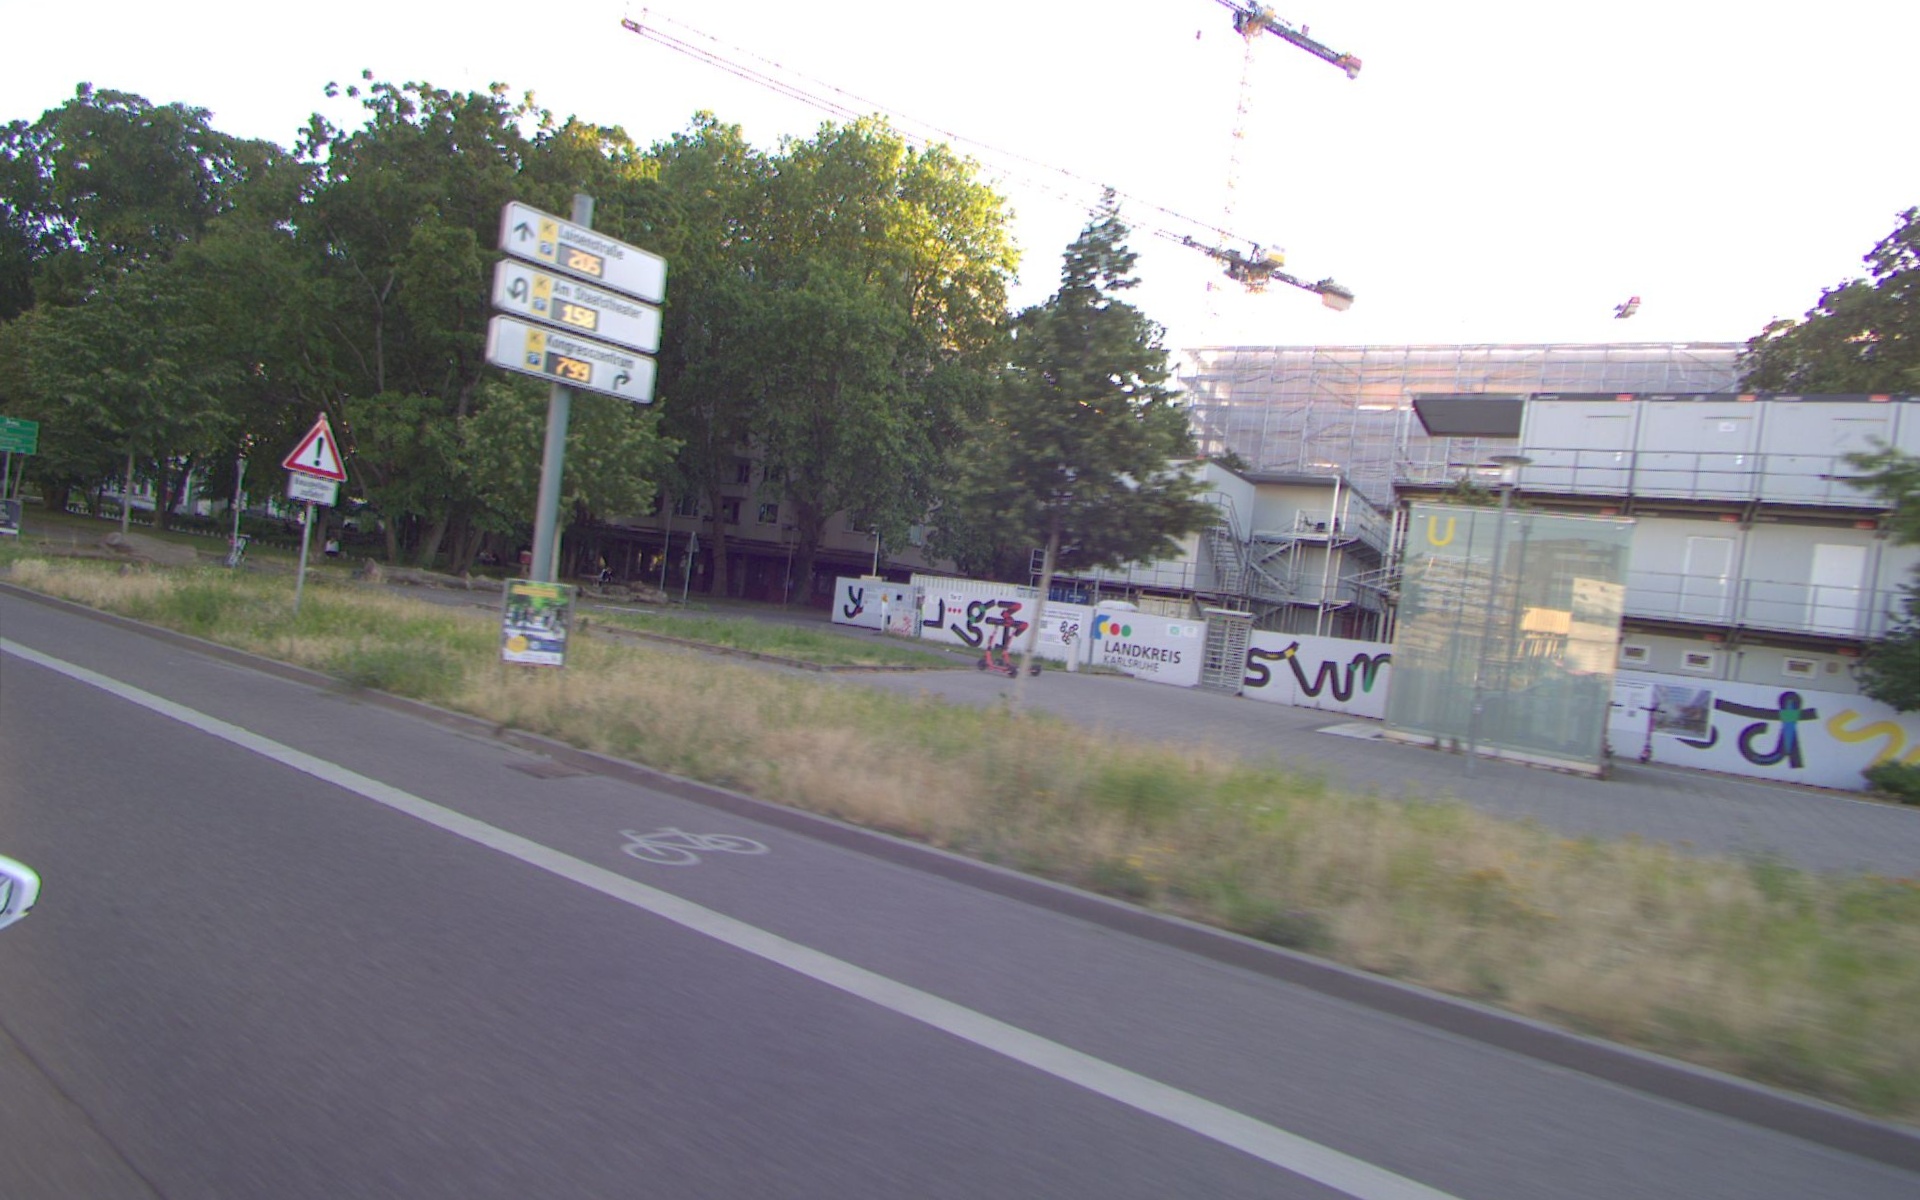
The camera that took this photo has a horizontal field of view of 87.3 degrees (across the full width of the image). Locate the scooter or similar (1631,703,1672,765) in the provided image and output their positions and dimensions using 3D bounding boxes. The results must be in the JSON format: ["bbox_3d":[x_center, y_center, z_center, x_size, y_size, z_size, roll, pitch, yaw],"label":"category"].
[{"bbox_3d":[14.995,2.890,21.827,0.466,1.235,1.573,7,-1,30],"label":"scooter or similar"}]

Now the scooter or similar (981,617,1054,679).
[{"bbox_3d":[1.343,1.114,23.676,1.546,1.237,0.473,7,4,26],"label":"scooter or similar"}]

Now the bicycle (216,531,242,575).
[{"bbox_3d":[-19.318,-1.255,26.580,0.491,1.019,1.878,3,3,-37],"label":"bicycle"}]

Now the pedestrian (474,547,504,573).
[{"bbox_3d":[-26.851,-2.289,57.355,0.891,1.276,1.132,7,1,35],"label":"pedestrian"}]

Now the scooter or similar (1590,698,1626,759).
[{"bbox_3d":[14.285,2.815,22.200,0.466,1.235,1.573,7,-1,30],"label":"scooter or similar"}]

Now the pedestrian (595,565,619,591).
[{"bbox_3d":[-18.272,-1.140,52.103,0.753,1.179,0.787,7,1,27],"label":"pedestrian"}]

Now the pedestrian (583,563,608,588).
[{"bbox_3d":[-19.012,-1.275,52.451,0.753,1.179,0.787,7,1,27],"label":"pedestrian"}]

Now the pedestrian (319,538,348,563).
[{"bbox_3d":[-24.751,-1.943,39.738,0.611,0.895,0.681,7,1,9],"label":"pedestrian"}]

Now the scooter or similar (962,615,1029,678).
[{"bbox_3d":[0.795,1.030,22.642,1.376,1.237,0.423,8,4,33],"label":"scooter or similar"}]

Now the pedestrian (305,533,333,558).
[{"bbox_3d":[-25.332,-2.140,39.773,0.582,0.896,0.681,7,1,8],"label":"pedestrian"}]

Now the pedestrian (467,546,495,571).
[{"bbox_3d":[-27.578,-2.390,57.944,0.714,1.276,1.132,7,1,35],"label":"pedestrian"}]
